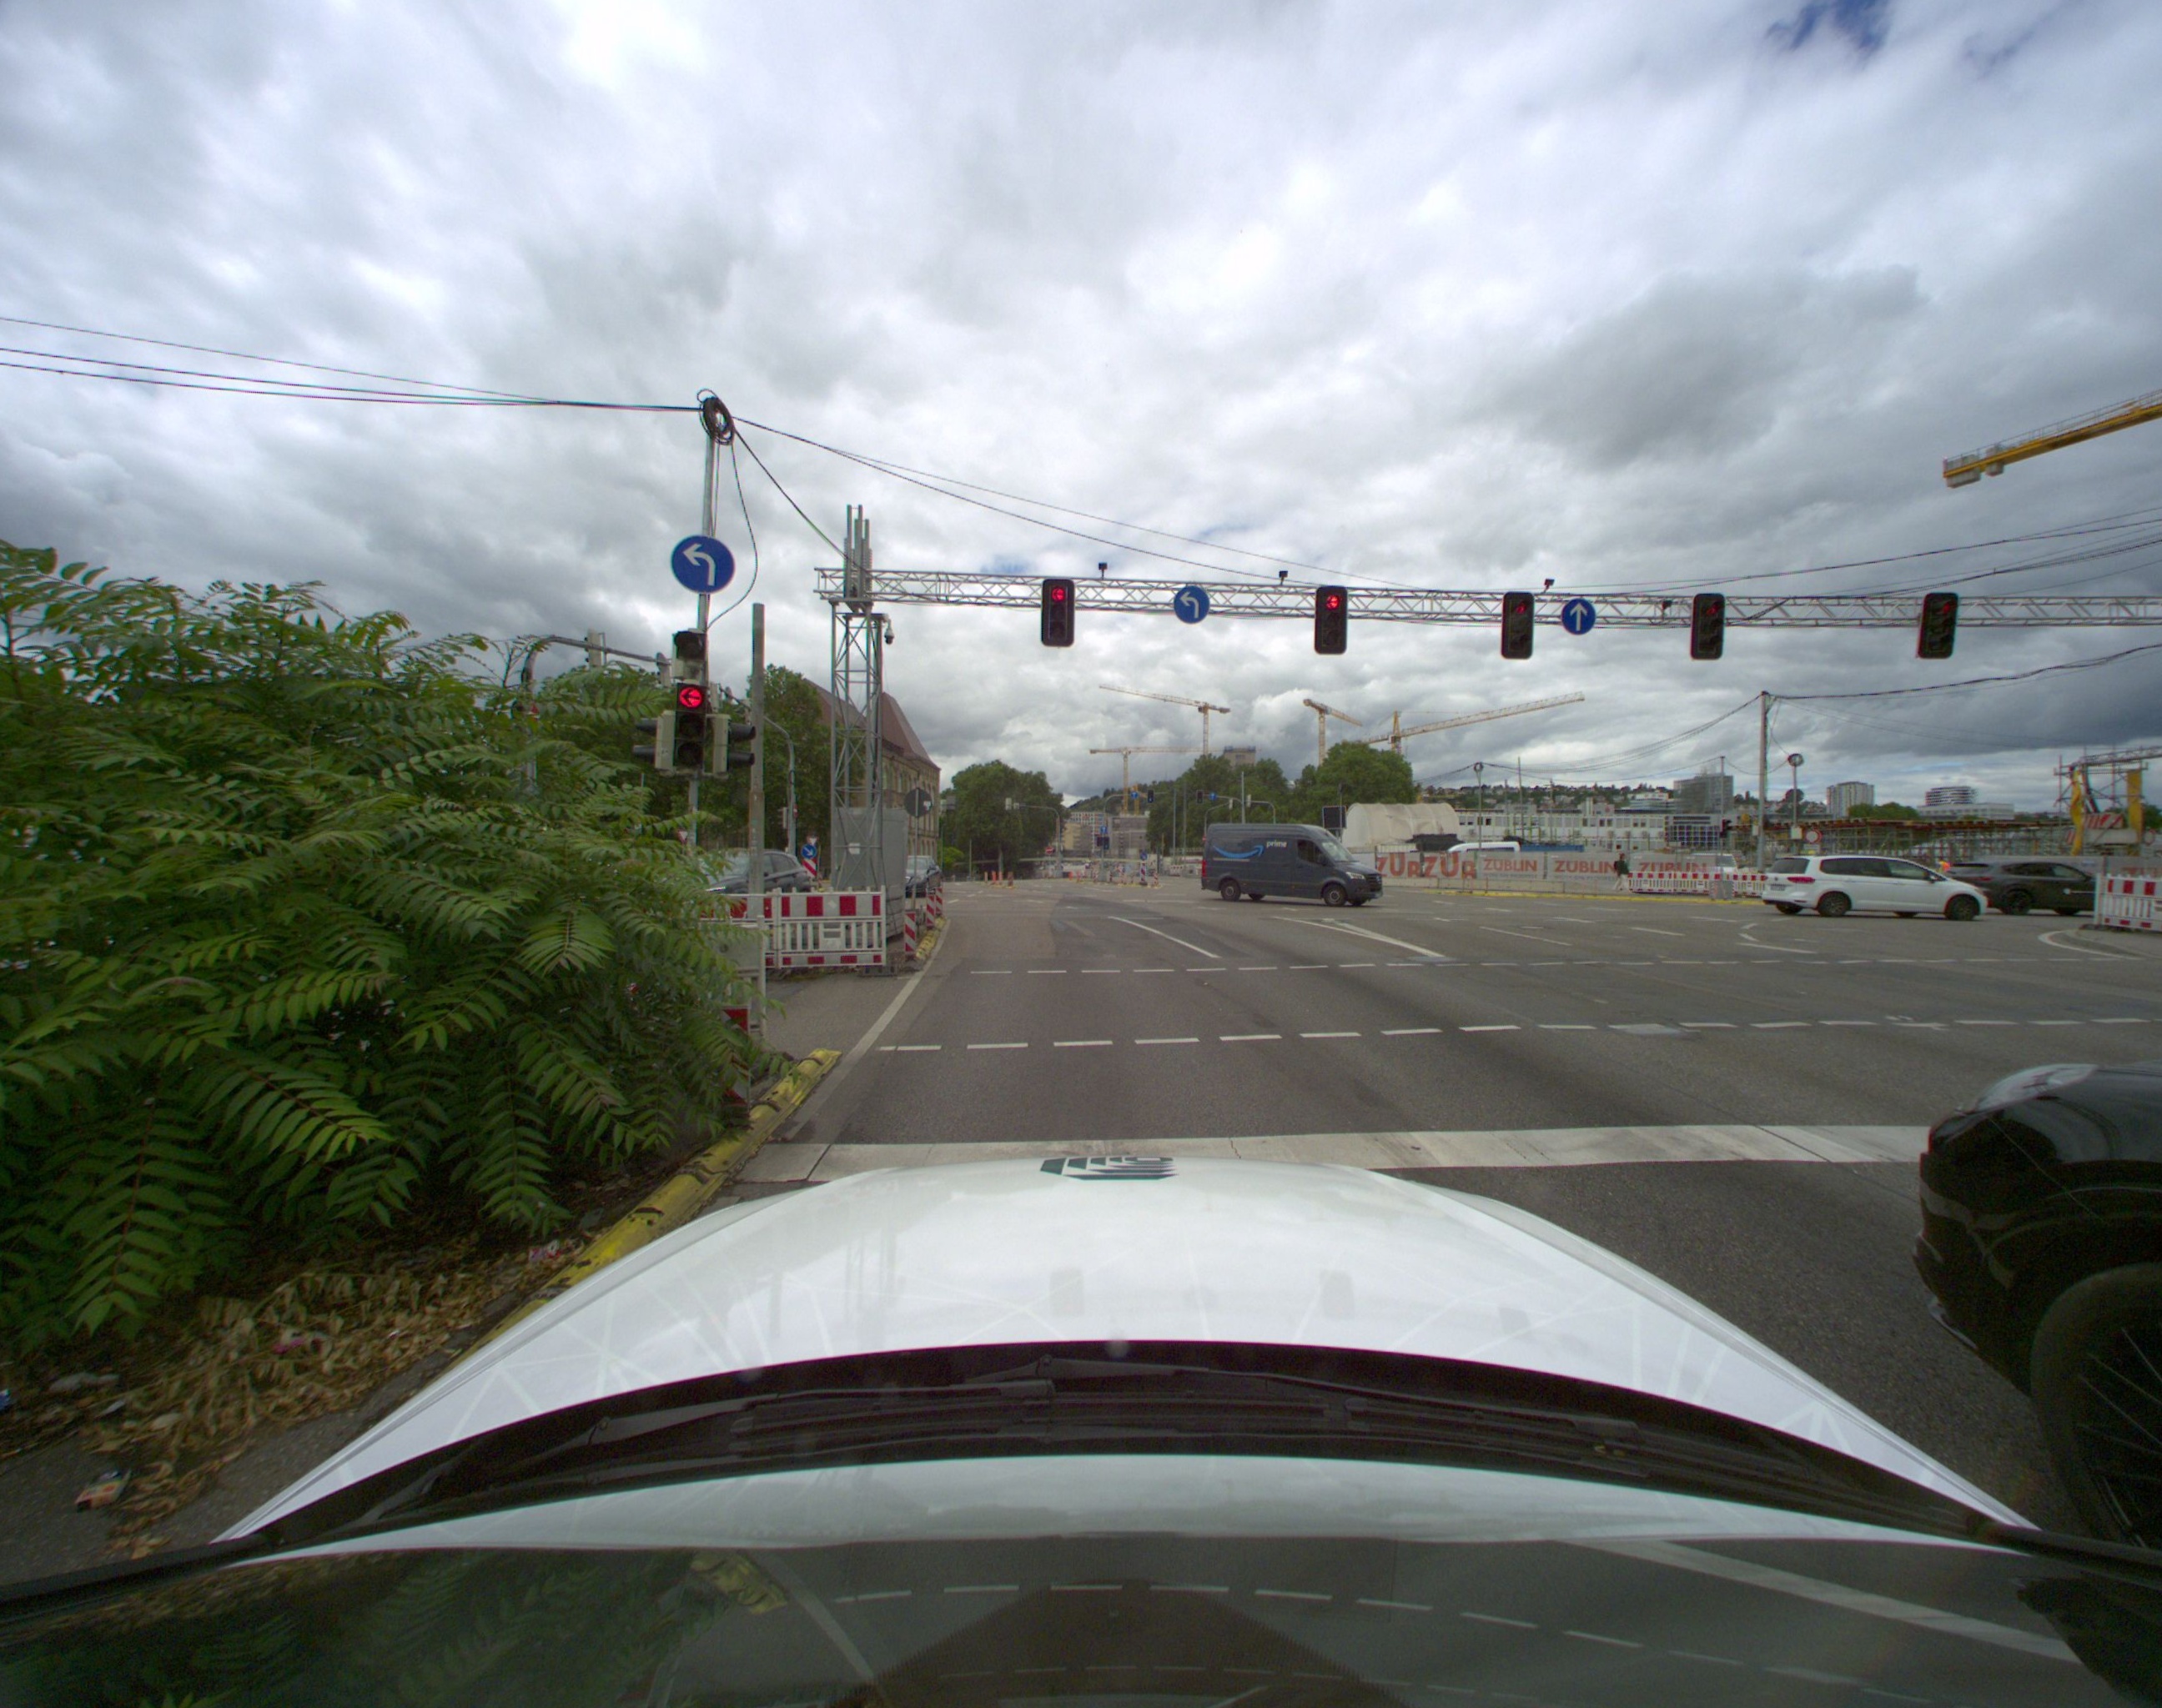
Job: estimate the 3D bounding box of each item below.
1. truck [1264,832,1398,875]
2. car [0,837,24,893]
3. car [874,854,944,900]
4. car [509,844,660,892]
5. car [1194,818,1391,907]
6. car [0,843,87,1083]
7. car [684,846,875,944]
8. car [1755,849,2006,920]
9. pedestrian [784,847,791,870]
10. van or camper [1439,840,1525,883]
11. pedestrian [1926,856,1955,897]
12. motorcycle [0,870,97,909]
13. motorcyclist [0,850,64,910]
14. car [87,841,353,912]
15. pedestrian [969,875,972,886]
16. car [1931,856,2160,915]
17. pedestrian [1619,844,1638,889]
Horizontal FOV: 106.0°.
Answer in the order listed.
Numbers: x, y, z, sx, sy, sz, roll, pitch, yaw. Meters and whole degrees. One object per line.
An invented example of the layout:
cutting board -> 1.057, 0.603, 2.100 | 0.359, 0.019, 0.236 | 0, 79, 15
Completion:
truck -> 25.027, -0.036, 81.587 | 13.062, 4.041, 3.926 | 0, 0, -18
car -> -34.296, 0.314, 23.656 | 4.302, 1.676, 1.998 | 0, 0, -3
car -> -6.090, 0.765, 29.284 | 1.702, 1.513, 4.286 | 0, 0, -1
car -> -18.361, 0.506, 30.337 | 4.315, 1.676, 1.992 | 0, 0, -12
car -> 6.758, 0.238, 26.576 | 5.937, 2.594, 2.076 | 0, 0, 41
car -> -7.656, 0.719, 3.425 | 1.702, 1.513, 4.286 | -2, 0, -2
car -> -5.746, 0.686, 16.227 | 1.869, 1.670, 4.450 | 0, 0, 4
car -> 20.676, 0.744, 21.275 | 4.401, 1.736, 1.890 | 0, 0, 11
pedestrian -> -26.674, 0.414, 74.037 | 0.530, 2.014, 0.423 | 1, -1, -42
van or camper -> 23.149, 0.421, 47.200 | 4.181, 2.357, 2.009 | 0, 0, 16
pedestrian -> 38.280, 0.985, 36.262 | 0.651, 1.795, 0.617 | 0, 0, -7
motorcycle -> -25.468, 0.857, 19.799 | 2.051, 0.924, 0.756 | 0, 0, -4
motorcyclist -> -25.670, 0.621, 19.780 | 0.963, 1.423, 0.745 | 0, 0, -4
car -> -21.223, 0.532, 20.246 | 4.302, 1.676, 1.998 | 0, 0, -3
pedestrian -> -21.545, 5.179, 159.294 | 0.522, 2.014, 0.567 | 0, 0, 2
car -> 29.253, 0.924, 24.824 | 4.574, 1.670, 1.886 | 0, 0, 3
pedestrian -> 24.519, 0.547, 36.499 | 0.645, 2.013, 0.520 | 0, 0, 27
